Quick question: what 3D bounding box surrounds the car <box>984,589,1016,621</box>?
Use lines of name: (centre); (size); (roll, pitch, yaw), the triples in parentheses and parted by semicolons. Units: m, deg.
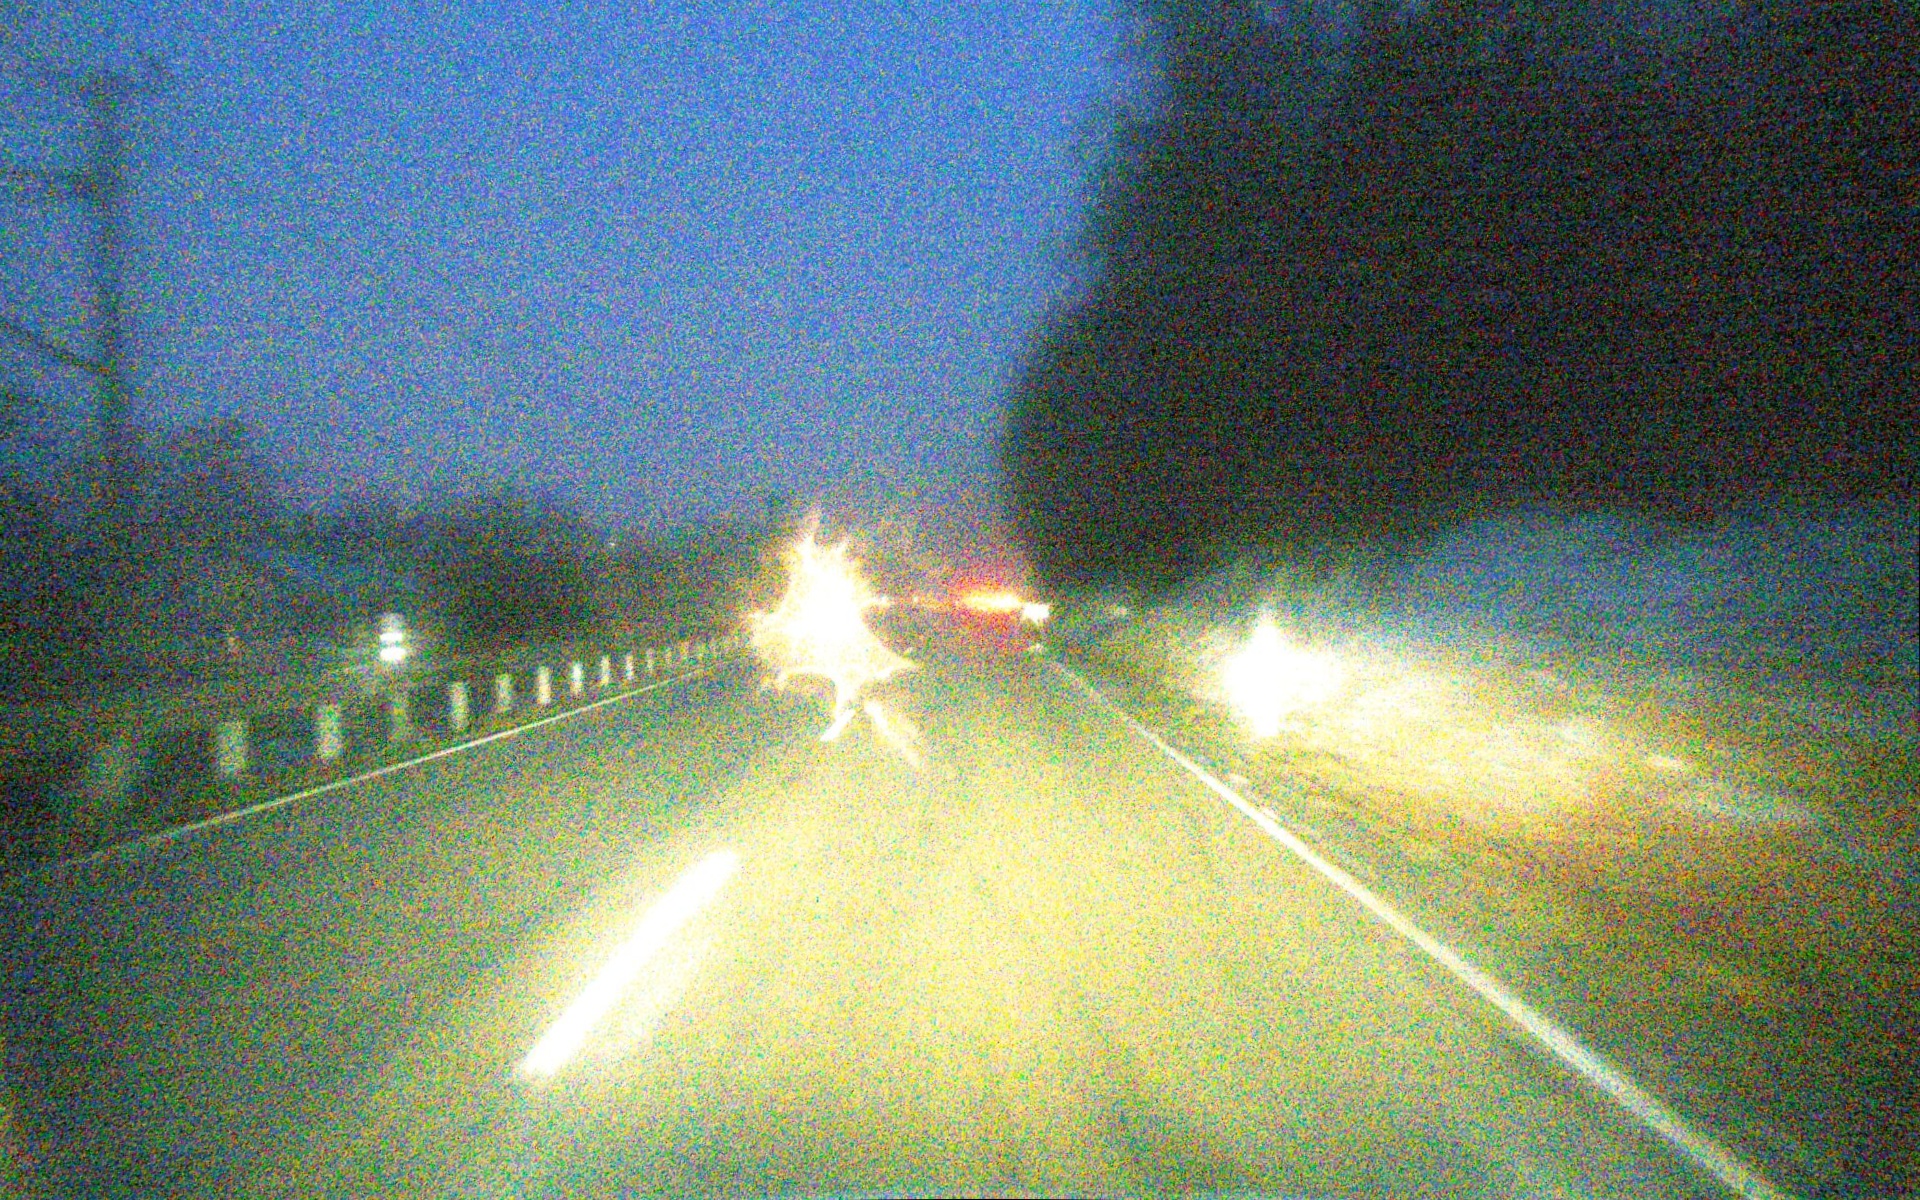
car: (2.754, 0.349, 114.655); (2.151, 2.049, 4.207); (0, -3, 1)
